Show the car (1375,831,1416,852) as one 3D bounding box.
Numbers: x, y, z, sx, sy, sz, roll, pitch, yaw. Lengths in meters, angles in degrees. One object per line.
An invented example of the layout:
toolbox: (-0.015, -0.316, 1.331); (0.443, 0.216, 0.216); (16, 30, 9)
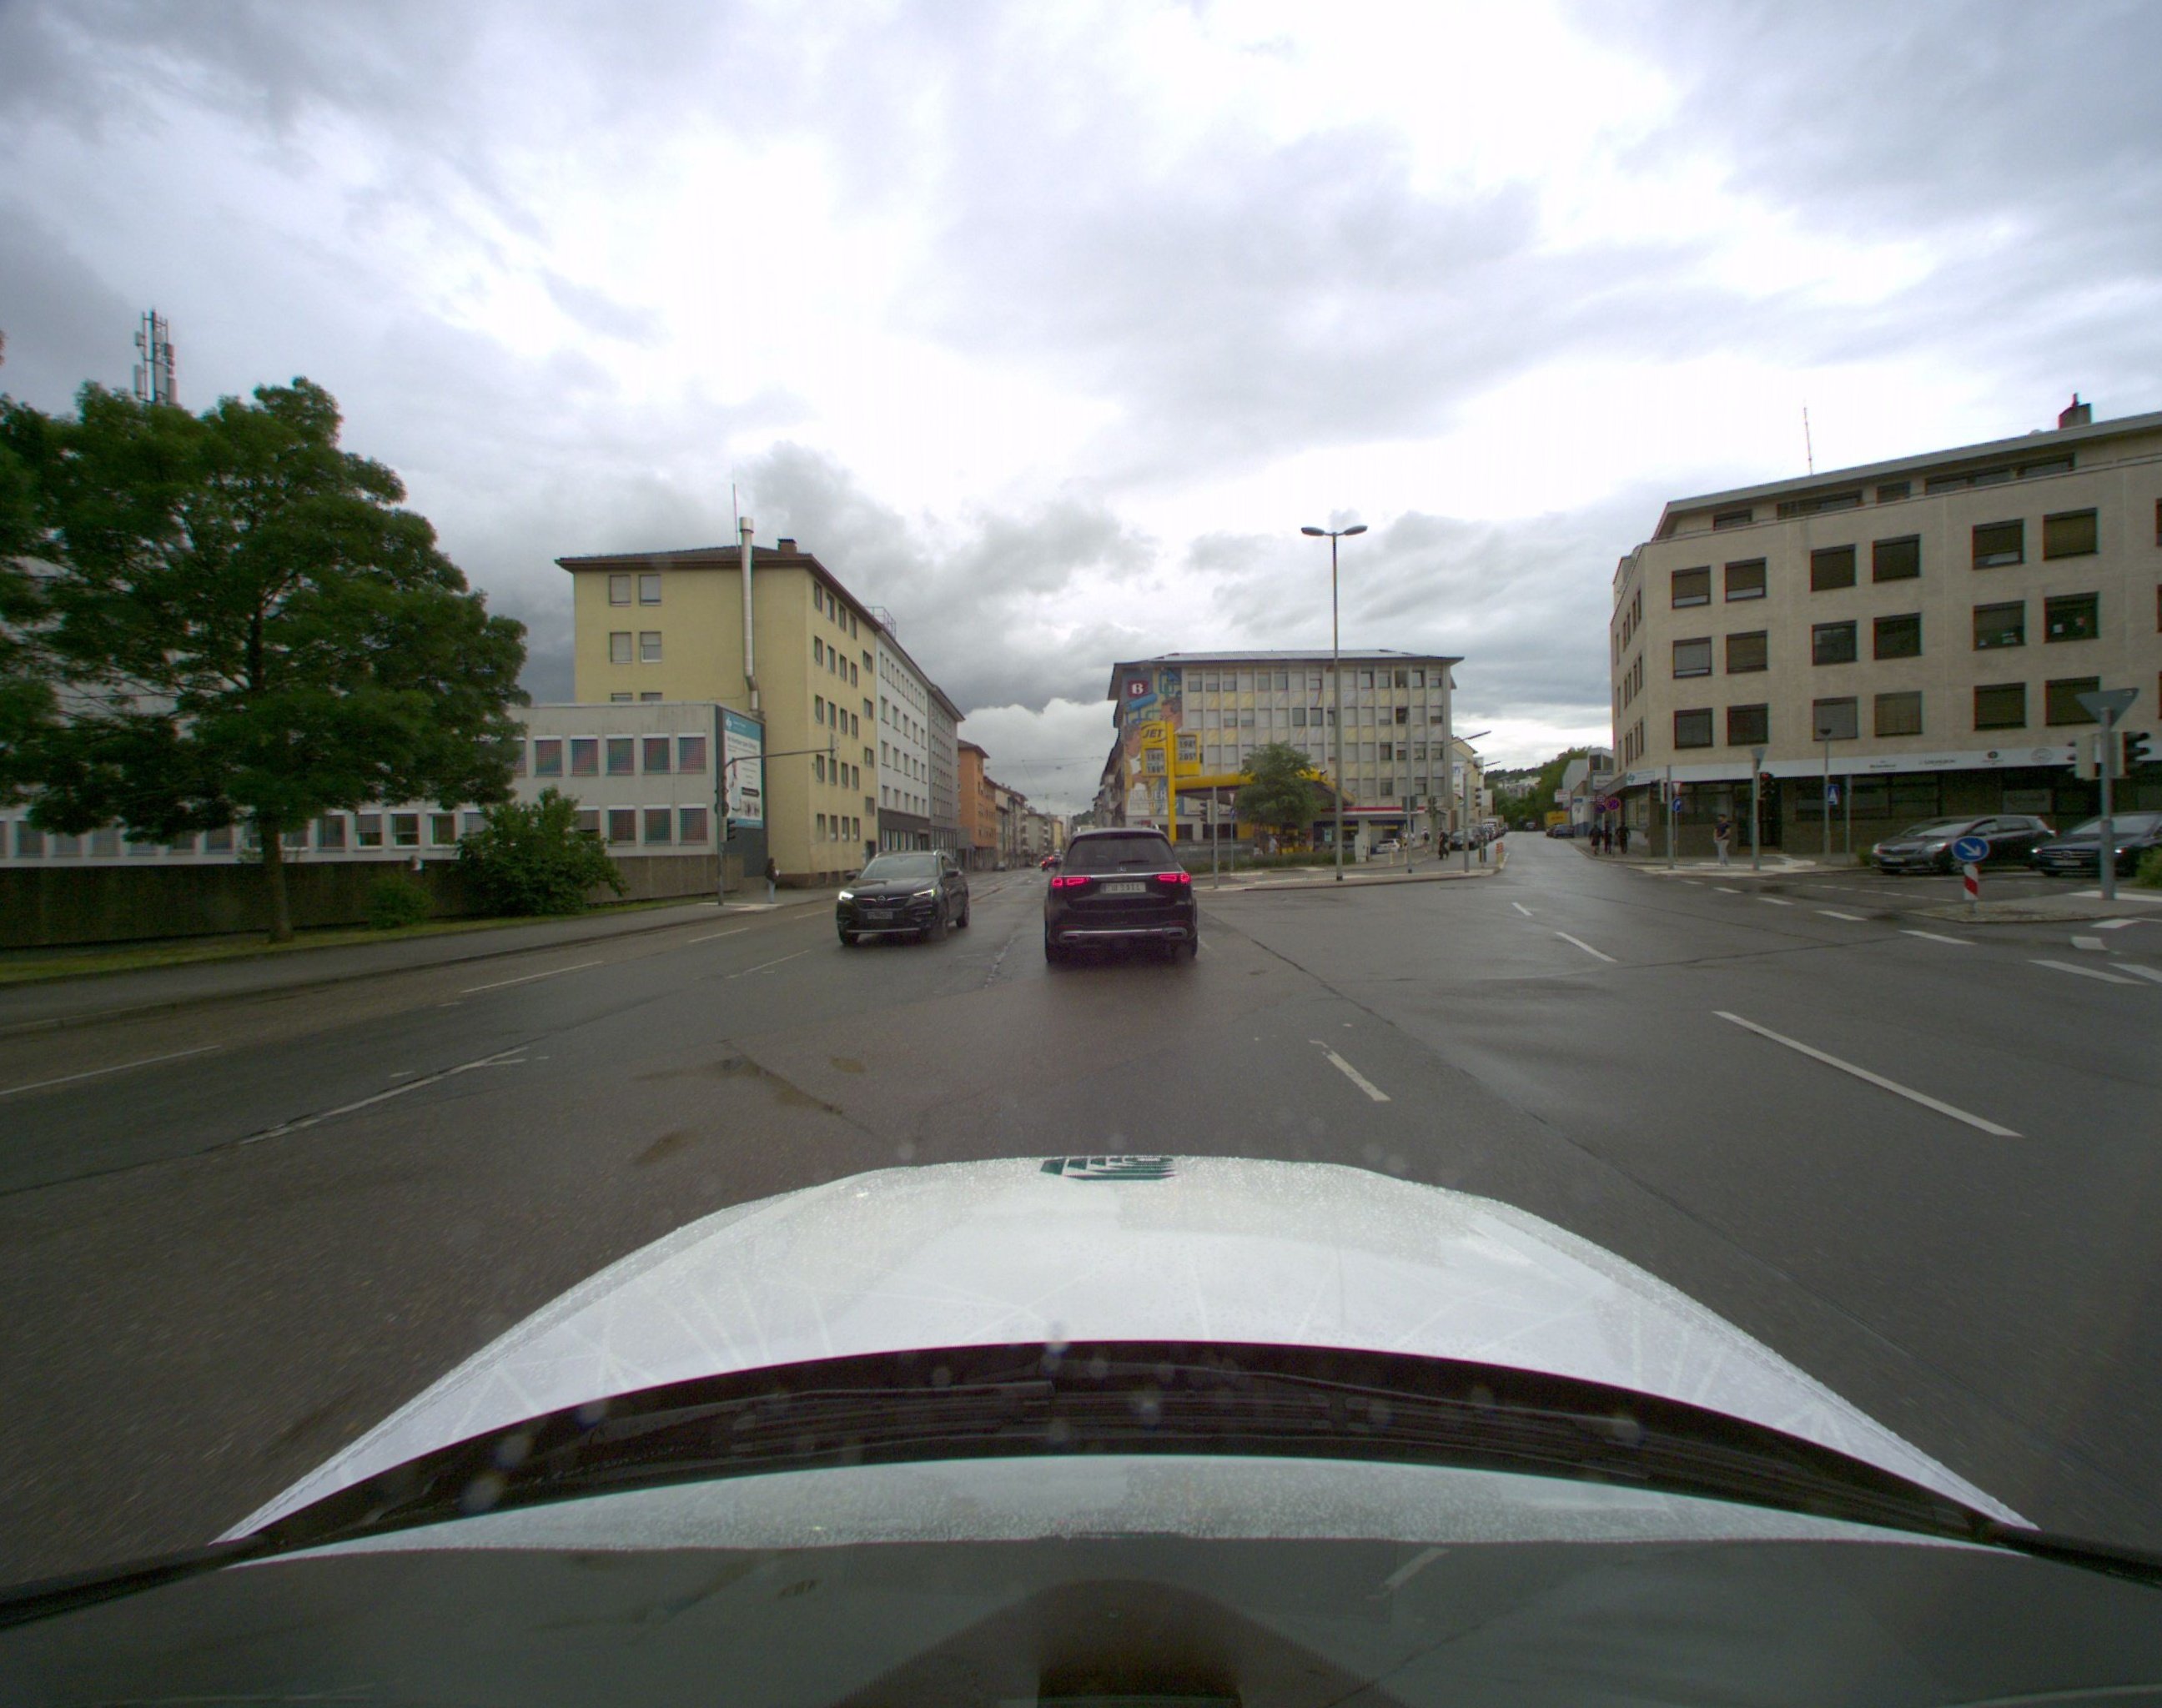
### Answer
car: (25.555, -0.971, 66.087); (1.974, 1.516, 4.446); (-3, -2, 36)

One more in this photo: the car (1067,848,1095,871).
car: (-0.024, 0.371, 61.583); (2.070, 1.650, 4.294); (0, 0, -1)

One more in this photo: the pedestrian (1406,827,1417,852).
pedestrian: (20.406, -0.877, 50.281); (0.578, 1.515, 0.474); (1, 0, -41)

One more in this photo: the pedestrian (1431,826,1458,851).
pedestrian: (20.404, -0.862, 45.717); (0.922, 1.353, 1.100); (1, 0, -41)

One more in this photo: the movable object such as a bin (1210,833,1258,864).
movable object such as a bin: (8.138, -0.289, 43.419); (2.149, 1.555, 1.773); (-3, 0, 0)

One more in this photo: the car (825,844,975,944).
car: (-3.241, 0.643, 15.455); (1.802, 1.594, 4.295); (-1, 0, 0)

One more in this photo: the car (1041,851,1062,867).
car: (-3.023, 0.476, 83.905); (2.070, 1.650, 4.294); (0, 0, -1)

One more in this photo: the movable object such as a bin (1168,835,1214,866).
movable object such as a bin: (5.803, -0.183, 43.258); (2.149, 1.574, 1.773); (-2, 0, 0)

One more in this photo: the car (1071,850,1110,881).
car: (0.485, 0.593, 45.285); (2.070, 1.650, 4.294); (0, 0, -1)

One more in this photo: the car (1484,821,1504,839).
car: (46.320, -2.669, 91.287); (1.975, 1.865, 4.607); (0, 0, 28)

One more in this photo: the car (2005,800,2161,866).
car: (26.109, -0.570, 20.150); (4.462, 1.444, 1.997); (-3, 0, -4)

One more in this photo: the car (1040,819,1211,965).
car: (0.522, 0.458, 12.223); (2.070, 1.765, 4.609); (0, 0, -1)

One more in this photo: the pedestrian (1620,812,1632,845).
pedestrian: (28.593, -1.339, 42.719); (0.473, 1.742, 0.578); (0, 0, 29)

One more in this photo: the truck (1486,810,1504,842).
truck: (53.294, -3.516, 104.735); (1.975, 3.914, 5.518); (0, 0, 28)

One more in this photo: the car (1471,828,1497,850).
car: (36.587, -1.308, 73.909); (1.975, 1.865, 4.607); (0, 0, 28)

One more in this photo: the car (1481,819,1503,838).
car: (43.505, -2.629, 86.110); (1.975, 1.865, 4.607); (0, 0, 28)

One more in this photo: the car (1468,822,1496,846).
car: (33.572, -1.609, 68.083); (1.975, 1.865, 4.607); (0, 0, 28)

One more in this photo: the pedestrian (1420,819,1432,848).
pedestrian: (21.208, -1.255, 50.059); (0.671, 1.758, 0.736); (0, 0, 22)

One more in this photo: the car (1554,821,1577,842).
car: (49.938, -2.306, 83.915); (1.974, 2.013, 4.025); (0, 0, 30)

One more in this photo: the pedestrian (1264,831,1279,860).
pedestrian: (10.550, -0.465, 45.036); (0.662, 1.585, 0.847); (0, 0, 2)

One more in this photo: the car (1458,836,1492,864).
car: (27.879, -0.284, 57.606); (1.975, 1.865, 4.607); (0, 0, 28)

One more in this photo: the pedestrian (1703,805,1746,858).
pedestrian: (22.191, -0.763, 28.098); (0.854, 1.791, 0.773); (0, 0, -5)

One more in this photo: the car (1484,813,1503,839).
car: (49.785, -3.317, 98.245); (1.975, 2.973, 4.607); (0, 0, 28)

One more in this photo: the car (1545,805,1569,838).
car: (56.442, -3.768, 96.551); (2.354, 3.688, 5.025); (0, 0, 29)

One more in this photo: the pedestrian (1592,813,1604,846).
pedestrian: (27.625, -1.324, 43.517); (0.473, 1.742, 0.578); (0, 0, 29)

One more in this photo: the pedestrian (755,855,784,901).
pedestrian: (-11.548, 0.877, 30.197); (0.714, 1.689, 0.811); (0, 0, 1)

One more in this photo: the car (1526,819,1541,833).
car: (70.448, -4.293, 126.734); (1.974, 2.013, 4.025); (0, 0, 30)

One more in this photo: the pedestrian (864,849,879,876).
pedestrian: (-13.312, 0.556, 51.859); (0.714, 1.689, 0.811); (0, 0, 1)

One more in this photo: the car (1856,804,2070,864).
car: (24.907, -0.560, 23.068); (4.470, 1.444, 1.994); (-3, 1, -10)

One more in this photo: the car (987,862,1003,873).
car: (-11.864, 1.809, 112.652); (1.886, 1.458, 4.545); (0, 0, -2)

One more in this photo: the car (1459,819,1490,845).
car: (30.070, -1.617, 62.182); (1.975, 1.865, 4.607); (0, 0, 28)

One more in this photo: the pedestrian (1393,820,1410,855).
pedestrian: (23.557, -1.201, 59.880); (0.998, 2.567, 1.153); (0, 0, 14)
